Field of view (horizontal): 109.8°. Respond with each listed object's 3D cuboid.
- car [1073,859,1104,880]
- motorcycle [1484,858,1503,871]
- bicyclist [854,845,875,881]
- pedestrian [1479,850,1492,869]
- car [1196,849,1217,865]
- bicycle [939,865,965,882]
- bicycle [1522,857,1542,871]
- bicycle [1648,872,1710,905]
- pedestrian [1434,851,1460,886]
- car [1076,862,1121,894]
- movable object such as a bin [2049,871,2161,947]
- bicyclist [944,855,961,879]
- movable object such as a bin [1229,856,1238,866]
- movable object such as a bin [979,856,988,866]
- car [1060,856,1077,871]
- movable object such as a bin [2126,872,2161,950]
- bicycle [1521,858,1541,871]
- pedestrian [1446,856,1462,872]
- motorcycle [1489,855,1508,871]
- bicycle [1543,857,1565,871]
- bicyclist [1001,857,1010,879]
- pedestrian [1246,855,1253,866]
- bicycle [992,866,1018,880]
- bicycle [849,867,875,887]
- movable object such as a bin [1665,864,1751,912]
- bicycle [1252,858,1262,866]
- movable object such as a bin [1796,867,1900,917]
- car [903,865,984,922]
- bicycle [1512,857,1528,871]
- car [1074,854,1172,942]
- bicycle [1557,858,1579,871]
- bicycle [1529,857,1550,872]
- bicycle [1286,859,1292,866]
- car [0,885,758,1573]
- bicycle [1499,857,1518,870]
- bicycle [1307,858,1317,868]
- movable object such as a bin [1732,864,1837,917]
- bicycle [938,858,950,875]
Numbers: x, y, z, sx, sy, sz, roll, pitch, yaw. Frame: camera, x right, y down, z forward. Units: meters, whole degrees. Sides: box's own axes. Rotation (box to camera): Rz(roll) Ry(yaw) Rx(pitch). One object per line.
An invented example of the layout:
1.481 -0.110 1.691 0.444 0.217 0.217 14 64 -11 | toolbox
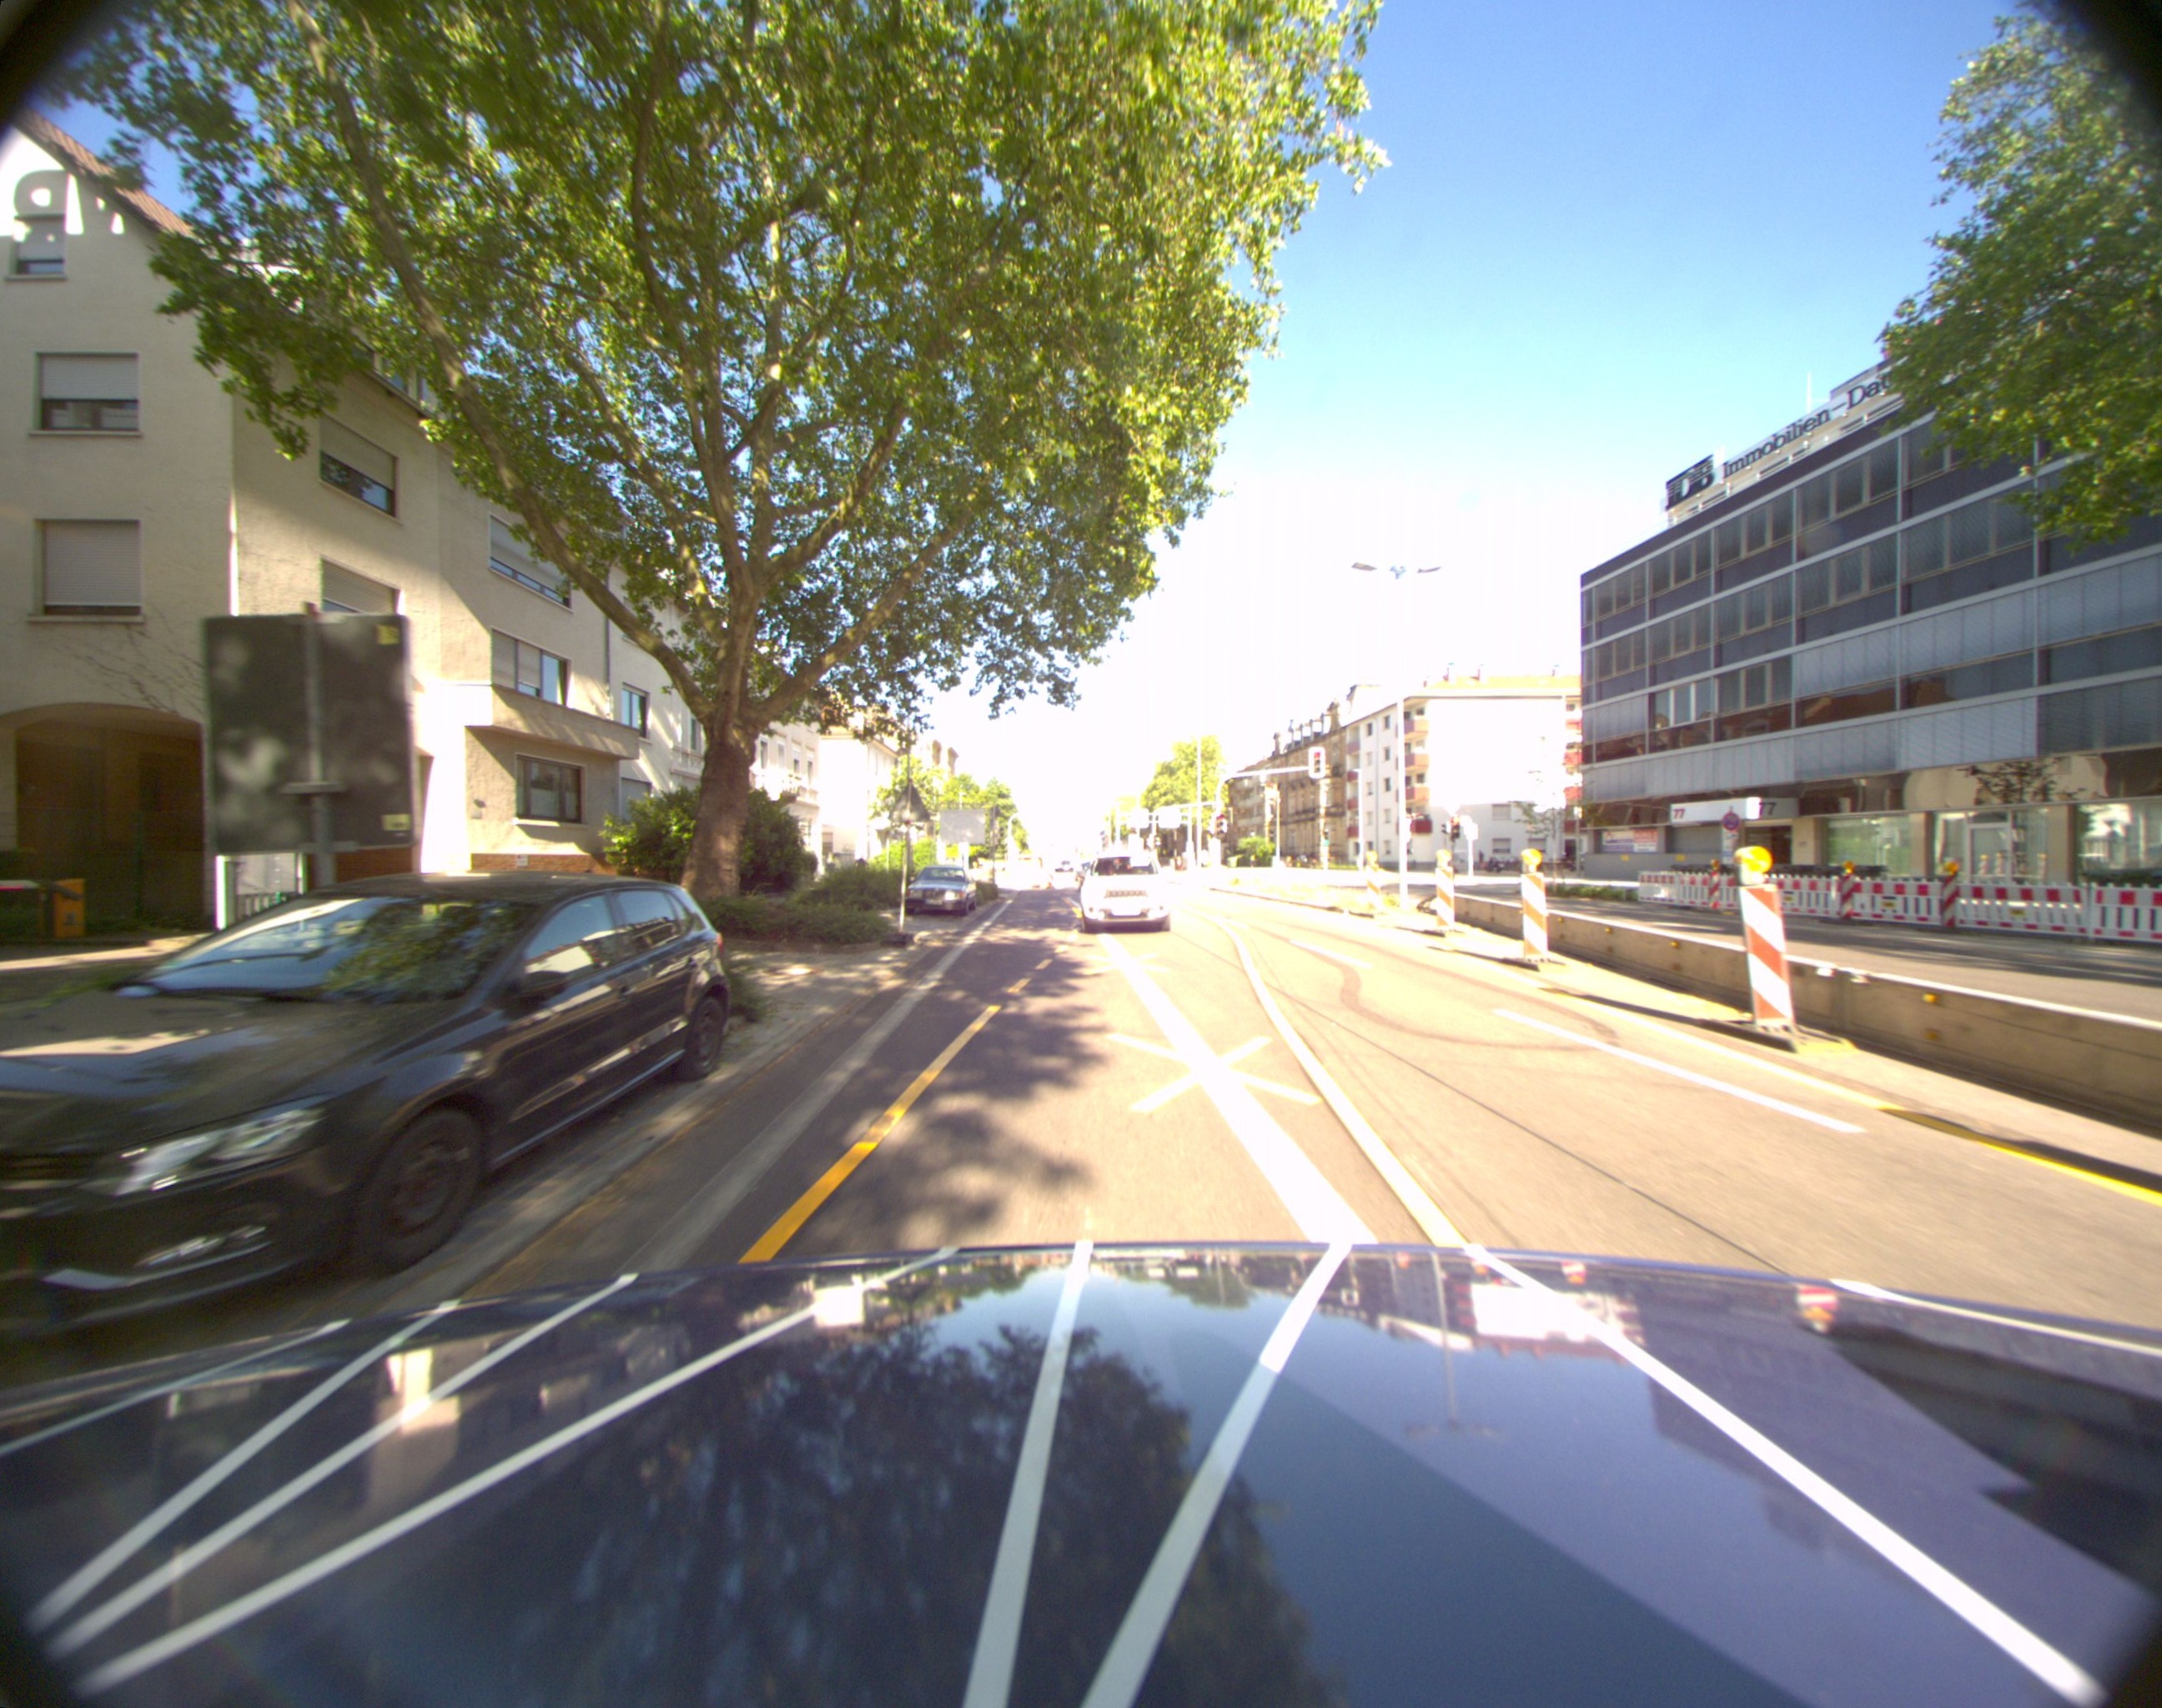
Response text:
0.493 1.078 54.613 1.999 1.426 4.872 0 0 -2 | car
30.276 0.787 55.747 0.504 0.931 1.842 -1 0 5 | motorcycle
-11.088 0.438 38.921 0.726 1.810 1.070 -1 0 -2 | bicyclist
31.831 0.446 59.779 0.601 1.488 0.694 -1 0 1 | pedestrian
19.618 0.494 119.111 2.251 2.431 5.287 1 -1 -2 | car
-8.308 1.252 49.079 0.689 1.091 1.690 -1 -1 34 | bicycle
34.565 0.736 58.207 0.575 1.052 1.690 -1 0 2 | bicycle
20.527 1.170 26.124 0.628 1.031 1.879 -1 0 -1 | bicycle
18.260 0.724 37.897 0.867 1.700 1.013 -1 0 5 | pedestrian
0.808 1.187 38.750 1.999 1.426 4.872 0 0 -2 | car
19.516 1.000 14.192 1.414 1.330 1.156 -1 0 0 | movable object such as a bin
-8.300 0.843 49.066 0.724 1.491 0.873 1 0 34 | bicyclist
21.238 0.981 105.917 0.895 1.352 1.474 1 -1 -1 | movable object such as a bin
-14.819 1.079 115.415 0.975 1.389 1.285 2 -1 -25 | movable object such as a bin
-1.707 1.265 100.122 1.999 1.760 3.999 -2 -1 -3 | car
19.369 0.989 13.099 1.414 1.330 0.936 -1 0 0 | movable object such as a bin
32.524 0.767 54.902 0.478 0.942 1.952 -1 0 6 | bicycle
27.349 0.746 55.674 0.720 1.146 0.788 -1 0 -15 | pedestrian
31.318 0.662 56.954 0.612 1.135 1.784 -1 0 7 | motorcycle
34.500 0.729 55.435 0.509 0.997 1.737 -1 0 2 | bicycle
-5.963 1.119 60.019 0.605 1.698 0.858 -1 0 -2 | bicyclist
21.382 0.866 96.299 0.568 1.369 1.089 0 1 -4 | pedestrian
-6.015 1.469 60.072 1.968 1.019 0.605 -2 0 -3 | bicycle
-11.173 1.170 38.872 0.784 0.960 1.823 -1 0 0 | bicycle
19.384 1.017 23.537 1.117 1.380 1.855 -1 0 -1 | movable object such as a bin
22.282 1.059 96.212 0.468 0.999 2.249 -2 -1 -4 | bicycle
19.611 0.956 19.469 1.398 1.196 1.241 -1 0 1 | movable object such as a bin
-4.058 1.107 23.139 1.857 1.471 4.940 -1 0 -4 | car
31.943 0.718 55.285 0.507 0.972 1.887 -1 0 14 | bicycle
0.805 0.844 16.499 1.744 1.648 3.689 -1 0 -2 | car
35.347 0.733 55.140 0.459 0.942 1.723 -1 0 0 | bicycle
33.426 0.738 55.386 0.490 1.062 1.736 -1 0 0 | bicycle
22.990 0.957 84.047 0.299 0.766 1.413 -1 0 -2 | bicycle
-3.400 1.009 3.926 1.768 1.499 4.250 -1 0 -3 | car
32.686 0.716 58.139 0.575 0.963 1.737 -1 0 2 | bicycle
23.284 0.910 76.651 0.305 0.952 1.939 0 0 -2 | bicycle
19.577 0.978 21.207 1.218 1.380 1.855 -1 0 -1 | movable object such as a bin
-12.271 1.121 68.206 0.710 1.435 2.490 -2 -1 -4 | bicycle
